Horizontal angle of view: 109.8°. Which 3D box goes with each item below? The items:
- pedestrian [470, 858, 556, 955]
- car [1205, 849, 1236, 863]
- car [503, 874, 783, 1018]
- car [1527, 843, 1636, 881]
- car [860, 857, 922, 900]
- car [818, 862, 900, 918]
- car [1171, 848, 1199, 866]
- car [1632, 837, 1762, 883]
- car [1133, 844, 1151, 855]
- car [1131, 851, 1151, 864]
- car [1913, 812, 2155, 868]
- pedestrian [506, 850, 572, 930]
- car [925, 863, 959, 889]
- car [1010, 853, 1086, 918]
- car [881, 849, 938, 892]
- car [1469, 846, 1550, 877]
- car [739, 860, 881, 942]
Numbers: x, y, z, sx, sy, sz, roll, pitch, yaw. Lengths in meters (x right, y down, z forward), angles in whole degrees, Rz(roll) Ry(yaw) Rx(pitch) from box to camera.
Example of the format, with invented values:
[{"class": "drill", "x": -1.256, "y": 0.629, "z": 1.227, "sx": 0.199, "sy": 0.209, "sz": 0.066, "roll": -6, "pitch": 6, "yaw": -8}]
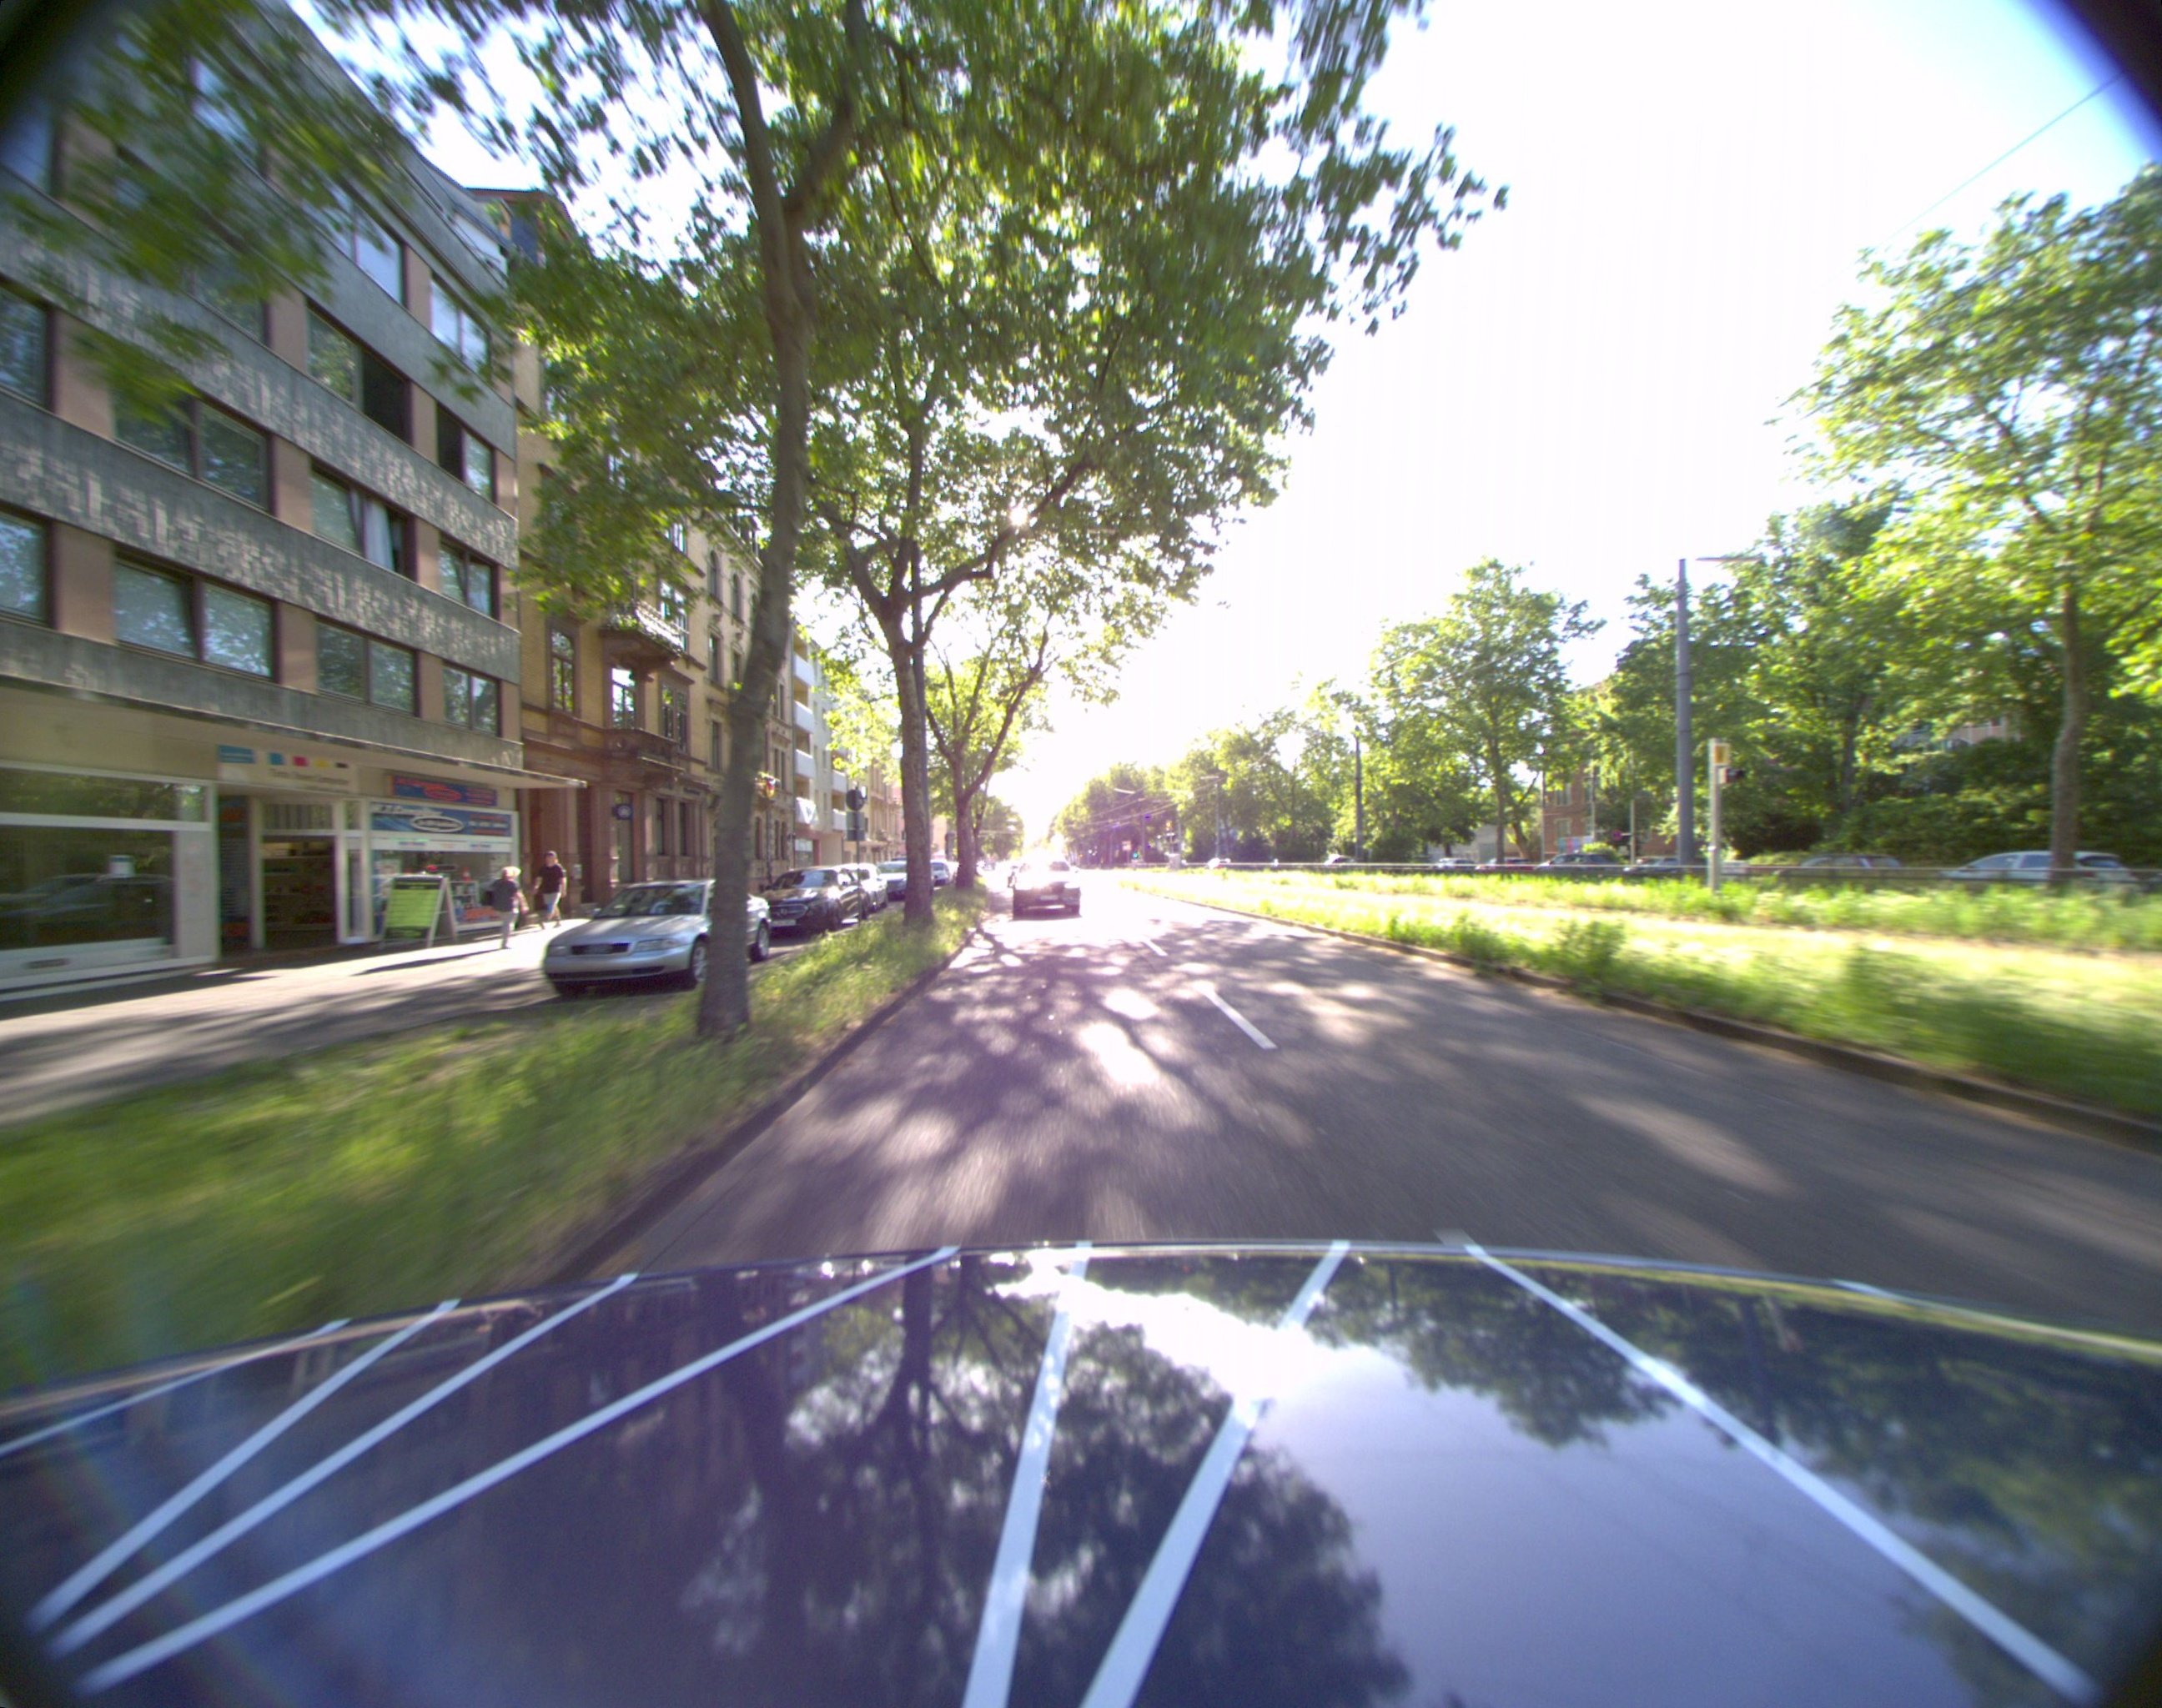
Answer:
[{"class": "pedestrian", "x": -10.856, "y": 0.989, "z": 14.552, "sx": 1.002, "sy": 1.750, "sz": 0.715, "roll": -3, "pitch": 1, "yaw": -5}, {"class": "car", "x": 12.959, "y": 0.172, "z": 70.735, "sx": 1.694, "sy": 1.128, "sz": 4.704, "roll": -3, "pitch": 0, "yaw": -4}, {"class": "car", "x": -5.863, "y": 1.103, "z": 10.920, "sx": 1.705, "sy": 1.416, "sz": 4.514, "roll": -3, "pitch": 0, "yaw": -6}, {"class": "car", "x": 24.927, "y": 0.397, "z": 38.055, "sx": 2.000, "sy": 1.674, "sz": 4.511, "roll": -3, "pitch": 0, "yaw": -8}, {"class": "car", "x": -7.679, "y": 0.940, "z": 31.136, "sx": 1.709, "sy": 1.493, "sz": 4.355, "roll": -3, "pitch": 0, "yaw": -5}, {"class": "car", "x": -7.074, "y": 1.070, "z": 24.668, "sx": 1.682, "sy": 1.458, "sz": 4.666, "roll": -3, "pitch": 1, "yaw": -6}, {"class": "car", "x": 10.171, "y": 0.287, "z": 74.589, "sx": 1.799, "sy": 1.543, "sz": 4.045, "roll": -3, "pitch": 0, "yaw": -5}, {"class": "car", "x": 25.543, "y": 0.238, "z": 31.703, "sx": 1.827, "sy": 1.674, "sz": 3.998, "roll": -3, "pitch": 0, "yaw": -6}, {"class": "car", "x": 9.304, "y": -0.675, "z": 116.324, "sx": 1.891, "sy": 1.610, "sz": 4.595, "roll": -3, "pitch": 0, "yaw": -6}, {"class": "car", "x": 7.741, "y": 0.455, "z": 98.242, "sx": 1.850, "sy": 1.521, "sz": 3.872, "roll": -3, "pitch": 0, "yaw": -7}, {"class": "car", "x": 26.008, "y": -0.352, "z": 20.958, "sx": 1.774, "sy": 1.304, "sz": 3.778, "roll": -3, "pitch": 0, "yaw": -5}, {"class": "pedestrian", "x": -12.815, "y": 0.836, "z": 17.988, "sx": 1.002, "sy": 1.829, "sz": 0.715, "roll": -2, "pitch": 1, "yaw": -3}, {"class": "car", "x": -8.870, "y": 1.355, "z": 48.631, "sx": 1.566, "sy": 1.477, "sz": 3.785, "roll": -3, "pitch": 0, "yaw": -3}, {"class": "car", "x": -1.077, "y": 0.878, "z": 22.824, "sx": 1.970, "sy": 1.664, "sz": 3.998, "roll": -3, "pitch": 0, "yaw": -6}, {"class": "car", "x": -8.161, "y": 0.757, "z": 36.653, "sx": 1.870, "sy": 1.805, "sz": 4.797, "roll": -3, "pitch": 0, "yaw": -4}, {"class": "car", "x": 24.466, "y": 0.429, "z": 43.545, "sx": 2.000, "sy": 1.612, "sz": 3.997, "roll": -3, "pitch": 0, "yaw": -8}, {"class": "car", "x": -6.206, "y": 0.981, "z": 18.064, "sx": 1.811, "sy": 1.481, "sz": 4.917, "roll": -3, "pitch": 1, "yaw": -4}]
